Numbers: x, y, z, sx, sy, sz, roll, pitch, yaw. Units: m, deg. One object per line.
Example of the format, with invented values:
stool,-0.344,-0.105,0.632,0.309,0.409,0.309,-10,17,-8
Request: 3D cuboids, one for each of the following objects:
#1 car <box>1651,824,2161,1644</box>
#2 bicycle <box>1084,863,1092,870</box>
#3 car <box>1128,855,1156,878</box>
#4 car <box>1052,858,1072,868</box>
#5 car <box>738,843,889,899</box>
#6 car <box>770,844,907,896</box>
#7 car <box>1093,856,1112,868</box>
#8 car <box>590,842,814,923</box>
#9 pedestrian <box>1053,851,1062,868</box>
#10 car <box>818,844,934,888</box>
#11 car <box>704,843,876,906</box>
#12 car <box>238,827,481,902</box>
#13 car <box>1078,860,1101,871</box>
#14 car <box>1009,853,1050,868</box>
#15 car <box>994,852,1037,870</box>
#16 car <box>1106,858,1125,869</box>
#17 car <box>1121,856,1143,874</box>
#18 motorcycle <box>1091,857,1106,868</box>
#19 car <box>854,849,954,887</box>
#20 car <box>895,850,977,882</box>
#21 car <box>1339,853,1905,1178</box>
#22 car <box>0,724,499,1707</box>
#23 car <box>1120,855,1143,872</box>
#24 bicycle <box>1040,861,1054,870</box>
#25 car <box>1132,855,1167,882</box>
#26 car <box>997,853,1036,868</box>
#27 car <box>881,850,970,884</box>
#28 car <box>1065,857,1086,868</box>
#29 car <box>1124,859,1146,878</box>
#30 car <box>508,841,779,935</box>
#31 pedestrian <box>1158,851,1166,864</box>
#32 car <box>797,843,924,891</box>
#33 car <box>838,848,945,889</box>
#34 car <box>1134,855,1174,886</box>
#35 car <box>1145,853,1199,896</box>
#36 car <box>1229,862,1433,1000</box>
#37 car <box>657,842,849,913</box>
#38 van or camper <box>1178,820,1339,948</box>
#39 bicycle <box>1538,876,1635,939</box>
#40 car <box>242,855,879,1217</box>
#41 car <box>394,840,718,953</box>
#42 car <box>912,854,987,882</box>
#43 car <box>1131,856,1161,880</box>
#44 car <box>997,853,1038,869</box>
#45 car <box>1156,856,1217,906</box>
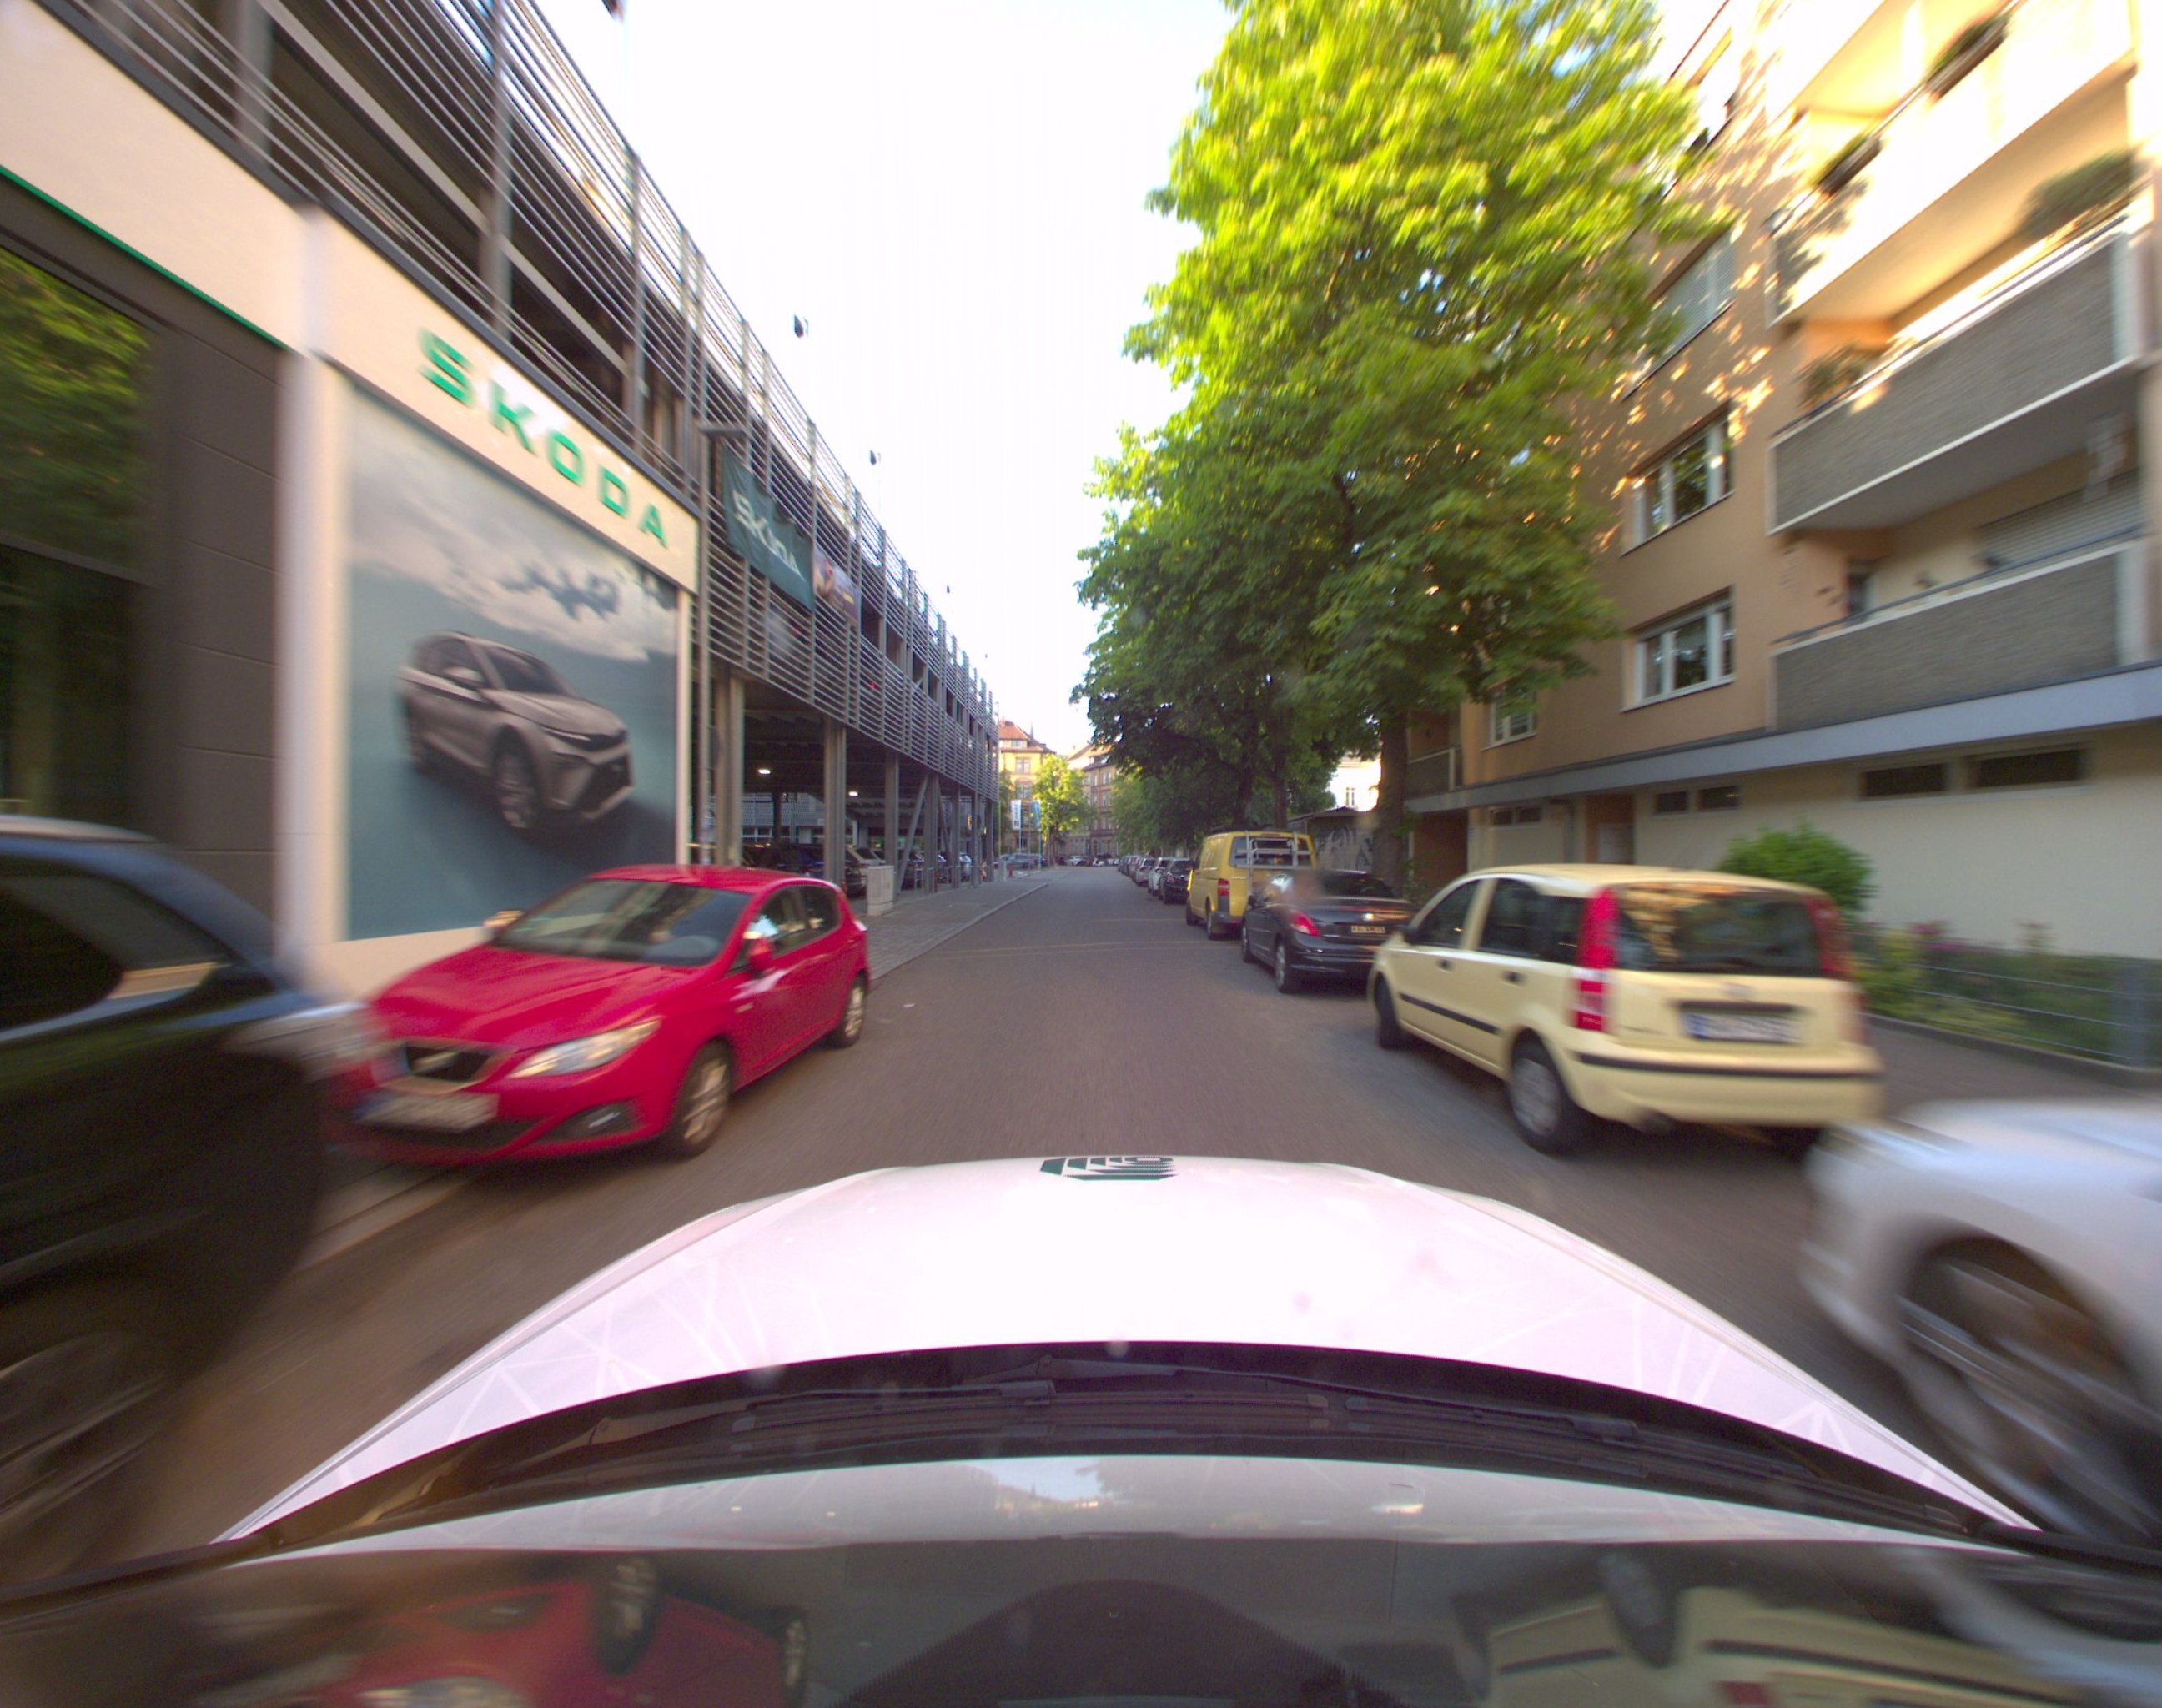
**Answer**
car,2.935,0.721,0.863,1.785,1.562,4.194,0,0,1
bicycle,0.891,1.617,105.067,0.421,0.822,1.470,0,1,23
car,4.281,0.854,57.890,1.753,1.604,3.874,0,0,1
car,-2.770,1.275,119.273,1.662,1.431,3.866,0,1,-23
car,-8.191,0.499,25.160,4.010,1.684,1.861,0,0,2
car,-8.180,0.515,27.693,4.068,1.684,1.861,0,0,2
car,3.178,1.178,118.994,1.682,1.782,2.992,0,0,-23
car,-8.209,0.579,17.911,4.020,1.684,1.861,0,0,2
pedestrian,-2.671,0.606,91.811,0.737,1.804,1.114,0,0,-19
car,-8.081,0.468,32.302,4.087,1.684,1.861,0,0,2
car,-8.116,0.553,22.960,4.133,1.684,1.861,0,0,2
car,-13.524,0.157,15.564,1.414,1.255,3.528,0,1,2
car,1.126,1.569,110.505,1.661,1.431,3.960,0,1,-23
car,-6.283,0.743,99.185,4.822,1.732,1.917,1,1,-6
car,-6.429,0.665,80.263,4.117,1.618,1.912,2,1,-1
car,4.889,1.293,115.429,1.682,1.525,2.746,1,0,-23
car,4.328,0.928,69.809,1.689,1.477,4.118,0,0,1
motorcycle,2.291,1.131,107.119,1.931,1.340,0.575,0,0,-10
car,-7.976,0.607,36.942,4.049,1.684,1.861,0,0,2
car,-7.814,0.653,44.080,4.064,1.684,1.861,0,0,2
car,3.088,0.753,5.560,1.604,1.510,3.478,0,0,1
car,-2.783,0.656,0.450,1.691,1.756,4.404,0,0,1
car,4.577,0.869,74.432,1.691,1.477,3.556,0,0,-2
bicycle,-4.238,1.447,101.885,1.679,1.028,0.442,0,0,-23
car,3.901,0.806,46.943,1.753,1.454,4.393,0,1,1
car,-6.951,0.734,87.710,4.036,1.475,1.918,2,1,-3
car,-7.853,0.641,41.396,4.071,1.684,1.861,0,0,2
car,-0.822,1.160,114.947,1.661,1.431,4.138,1,1,-21
car,4.268,1.117,65.246,1.591,1.477,3.774,0,0,1
car,-8.206,0.605,15.554,4.150,1.684,1.861,0,0,2
pedestrian,10.982,0.494,109.835,0.843,1.804,0.771,0,0,-20
car,-8.032,0.455,29.923,4.087,1.684,1.861,0,0,2
car,-8.051,0.598,34.799,4.087,1.684,1.861,0,0,2
car,3.722,0.825,42.056,1.753,1.442,4.006,0,1,1
car,3.465,0.742,31.599,1.716,1.519,4.026,0,1,1
car,3.009,0.836,10.628,1.600,1.381,4.003,0,1,3
car,-8.112,0.551,20.418,4.020,1.684,1.861,0,0,2
van or camper,3.229,0.462,15.955,2.057,2.096,5.090,0,1,0
bicycle,8.483,0.866,13.762,0.521,0.921,1.835,0,1,1
car,-2.677,0.776,5.351,1.691,1.506,3.791,0,0,1
car,-8.320,0.631,13.183,4.027,1.684,1.861,0,0,2
car,-7.479,0.824,46.705,3.975,1.586,1.859,0,-2,-1
car,4.188,0.893,52.880,1.753,1.441,3.874,0,1,1
car,-6.478,0.718,83.524,4.055,1.618,1.764,0,1,-1
car,3.325,0.809,26.136,1.557,1.450,3.454,0,1,1
